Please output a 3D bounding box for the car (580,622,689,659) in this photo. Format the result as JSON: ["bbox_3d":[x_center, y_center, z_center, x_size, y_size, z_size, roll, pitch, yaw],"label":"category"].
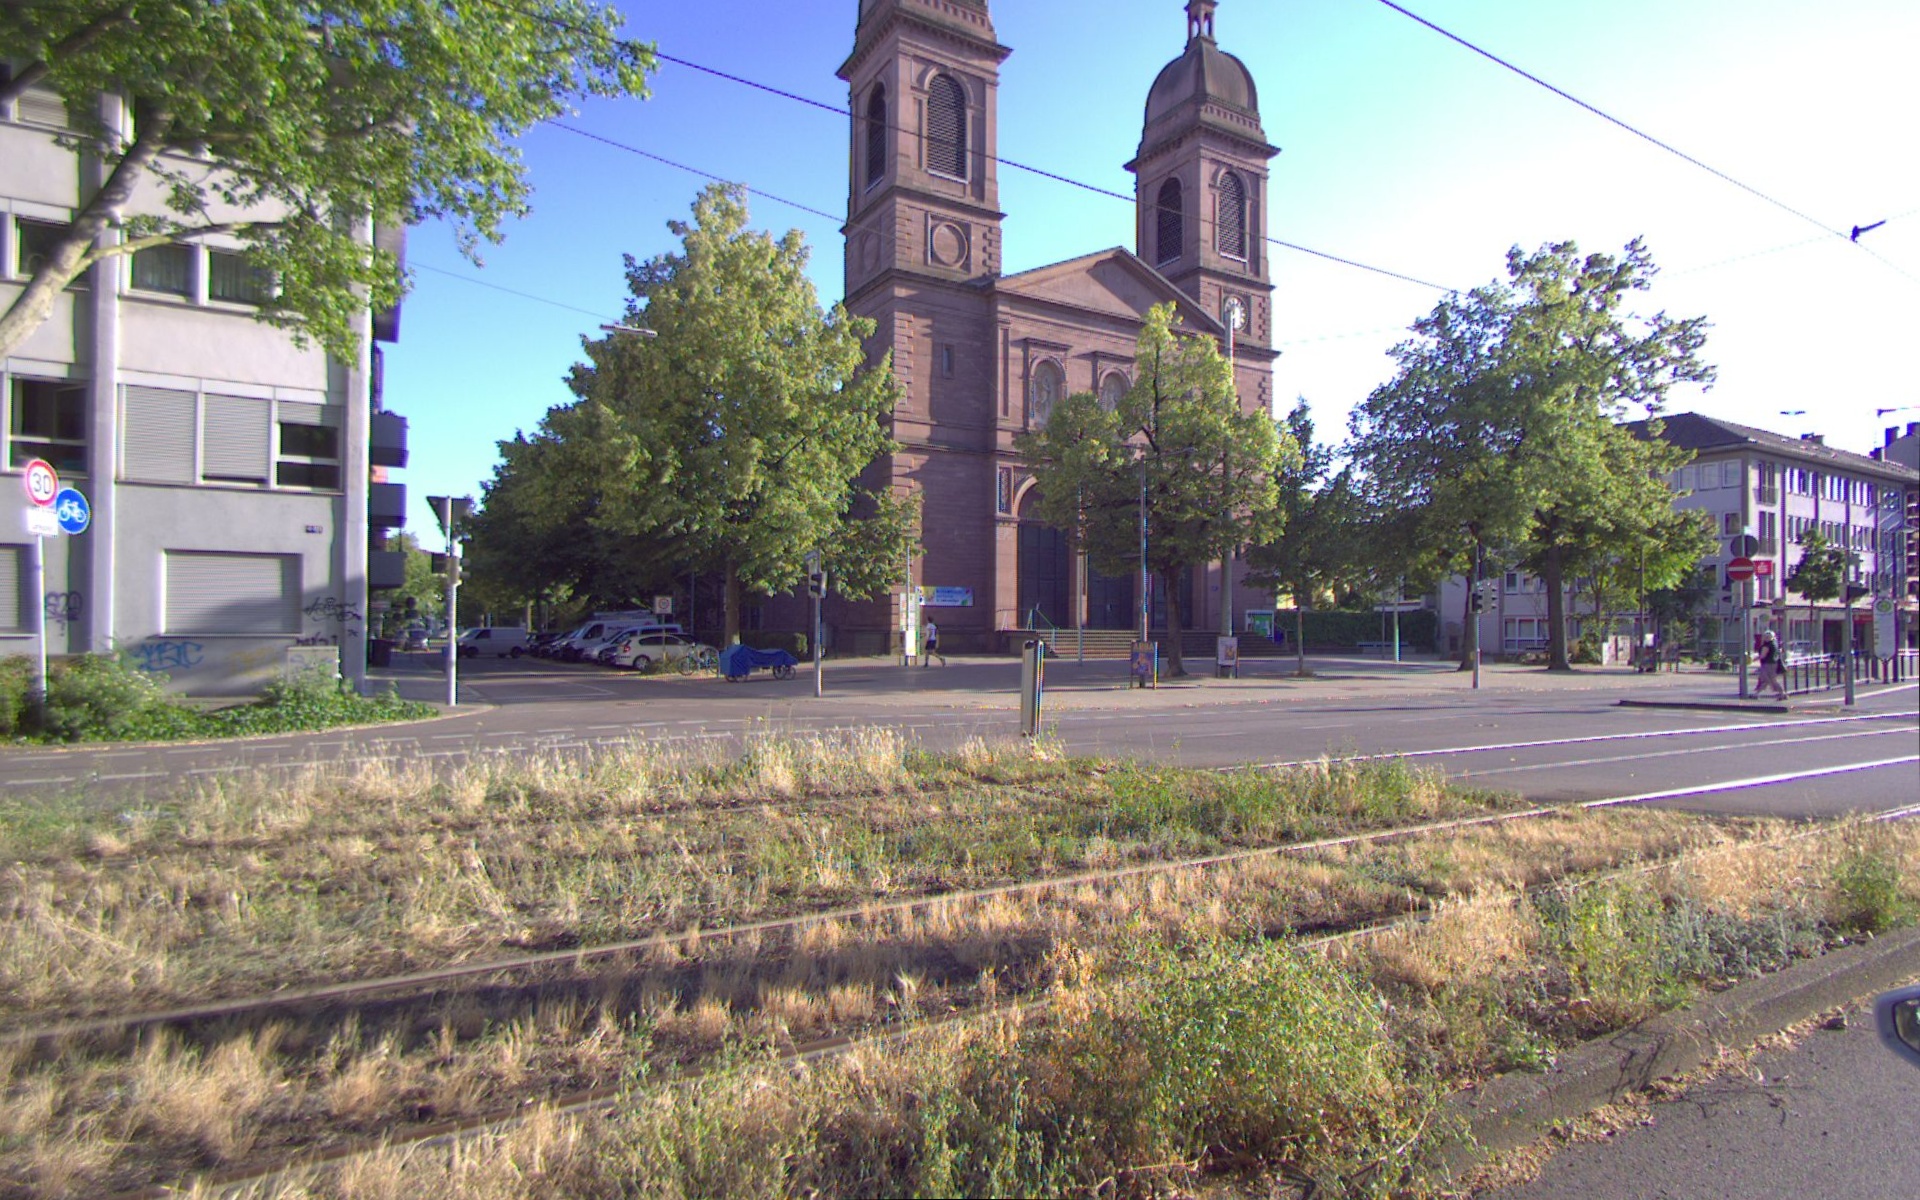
[{"bbox_3d":[-15.589,1.925,48.161,4.655,1.684,1.984,1,-2,-30],"label":"car"}]

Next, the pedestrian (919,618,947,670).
[{"bbox_3d":[-0.940,1.522,35.042,0.684,1.789,0.733,1,-1,-31],"label":"pedestrian"}]

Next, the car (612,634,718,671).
[{"bbox_3d":[-12.241,2.142,41.743,3.953,1.416,1.802,0,-1,-30],"label":"car"}]

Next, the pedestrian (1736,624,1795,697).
[{"bbox_3d":[20.247,1.515,25.259,0.822,1.783,0.915,2,-2,-29],"label":"pedestrian"}]

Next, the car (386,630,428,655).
[{"bbox_3d":[-47.013,3.589,85.360,1.985,2.040,5.360,2,-2,-41],"label":"car"}]

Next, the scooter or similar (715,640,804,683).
[{"bbox_3d":[-6.120,1.864,30.701,2.419,1.141,1.088,-1,0,-30],"label":"scooter or similar"}]

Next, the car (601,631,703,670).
[{"bbox_3d":[-13.488,2.173,43.956,3.953,1.639,1.876,1,-2,-30],"label":"car"}]

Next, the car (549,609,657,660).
[{"bbox_3d":[-18.702,1.807,52.699,5.054,2.551,1.984,1,-2,-30],"label":"car"}]

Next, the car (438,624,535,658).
[{"bbox_3d":[-30.532,2.622,64.925,1.967,2.040,5.410,-1,-2,34],"label":"car"}]
